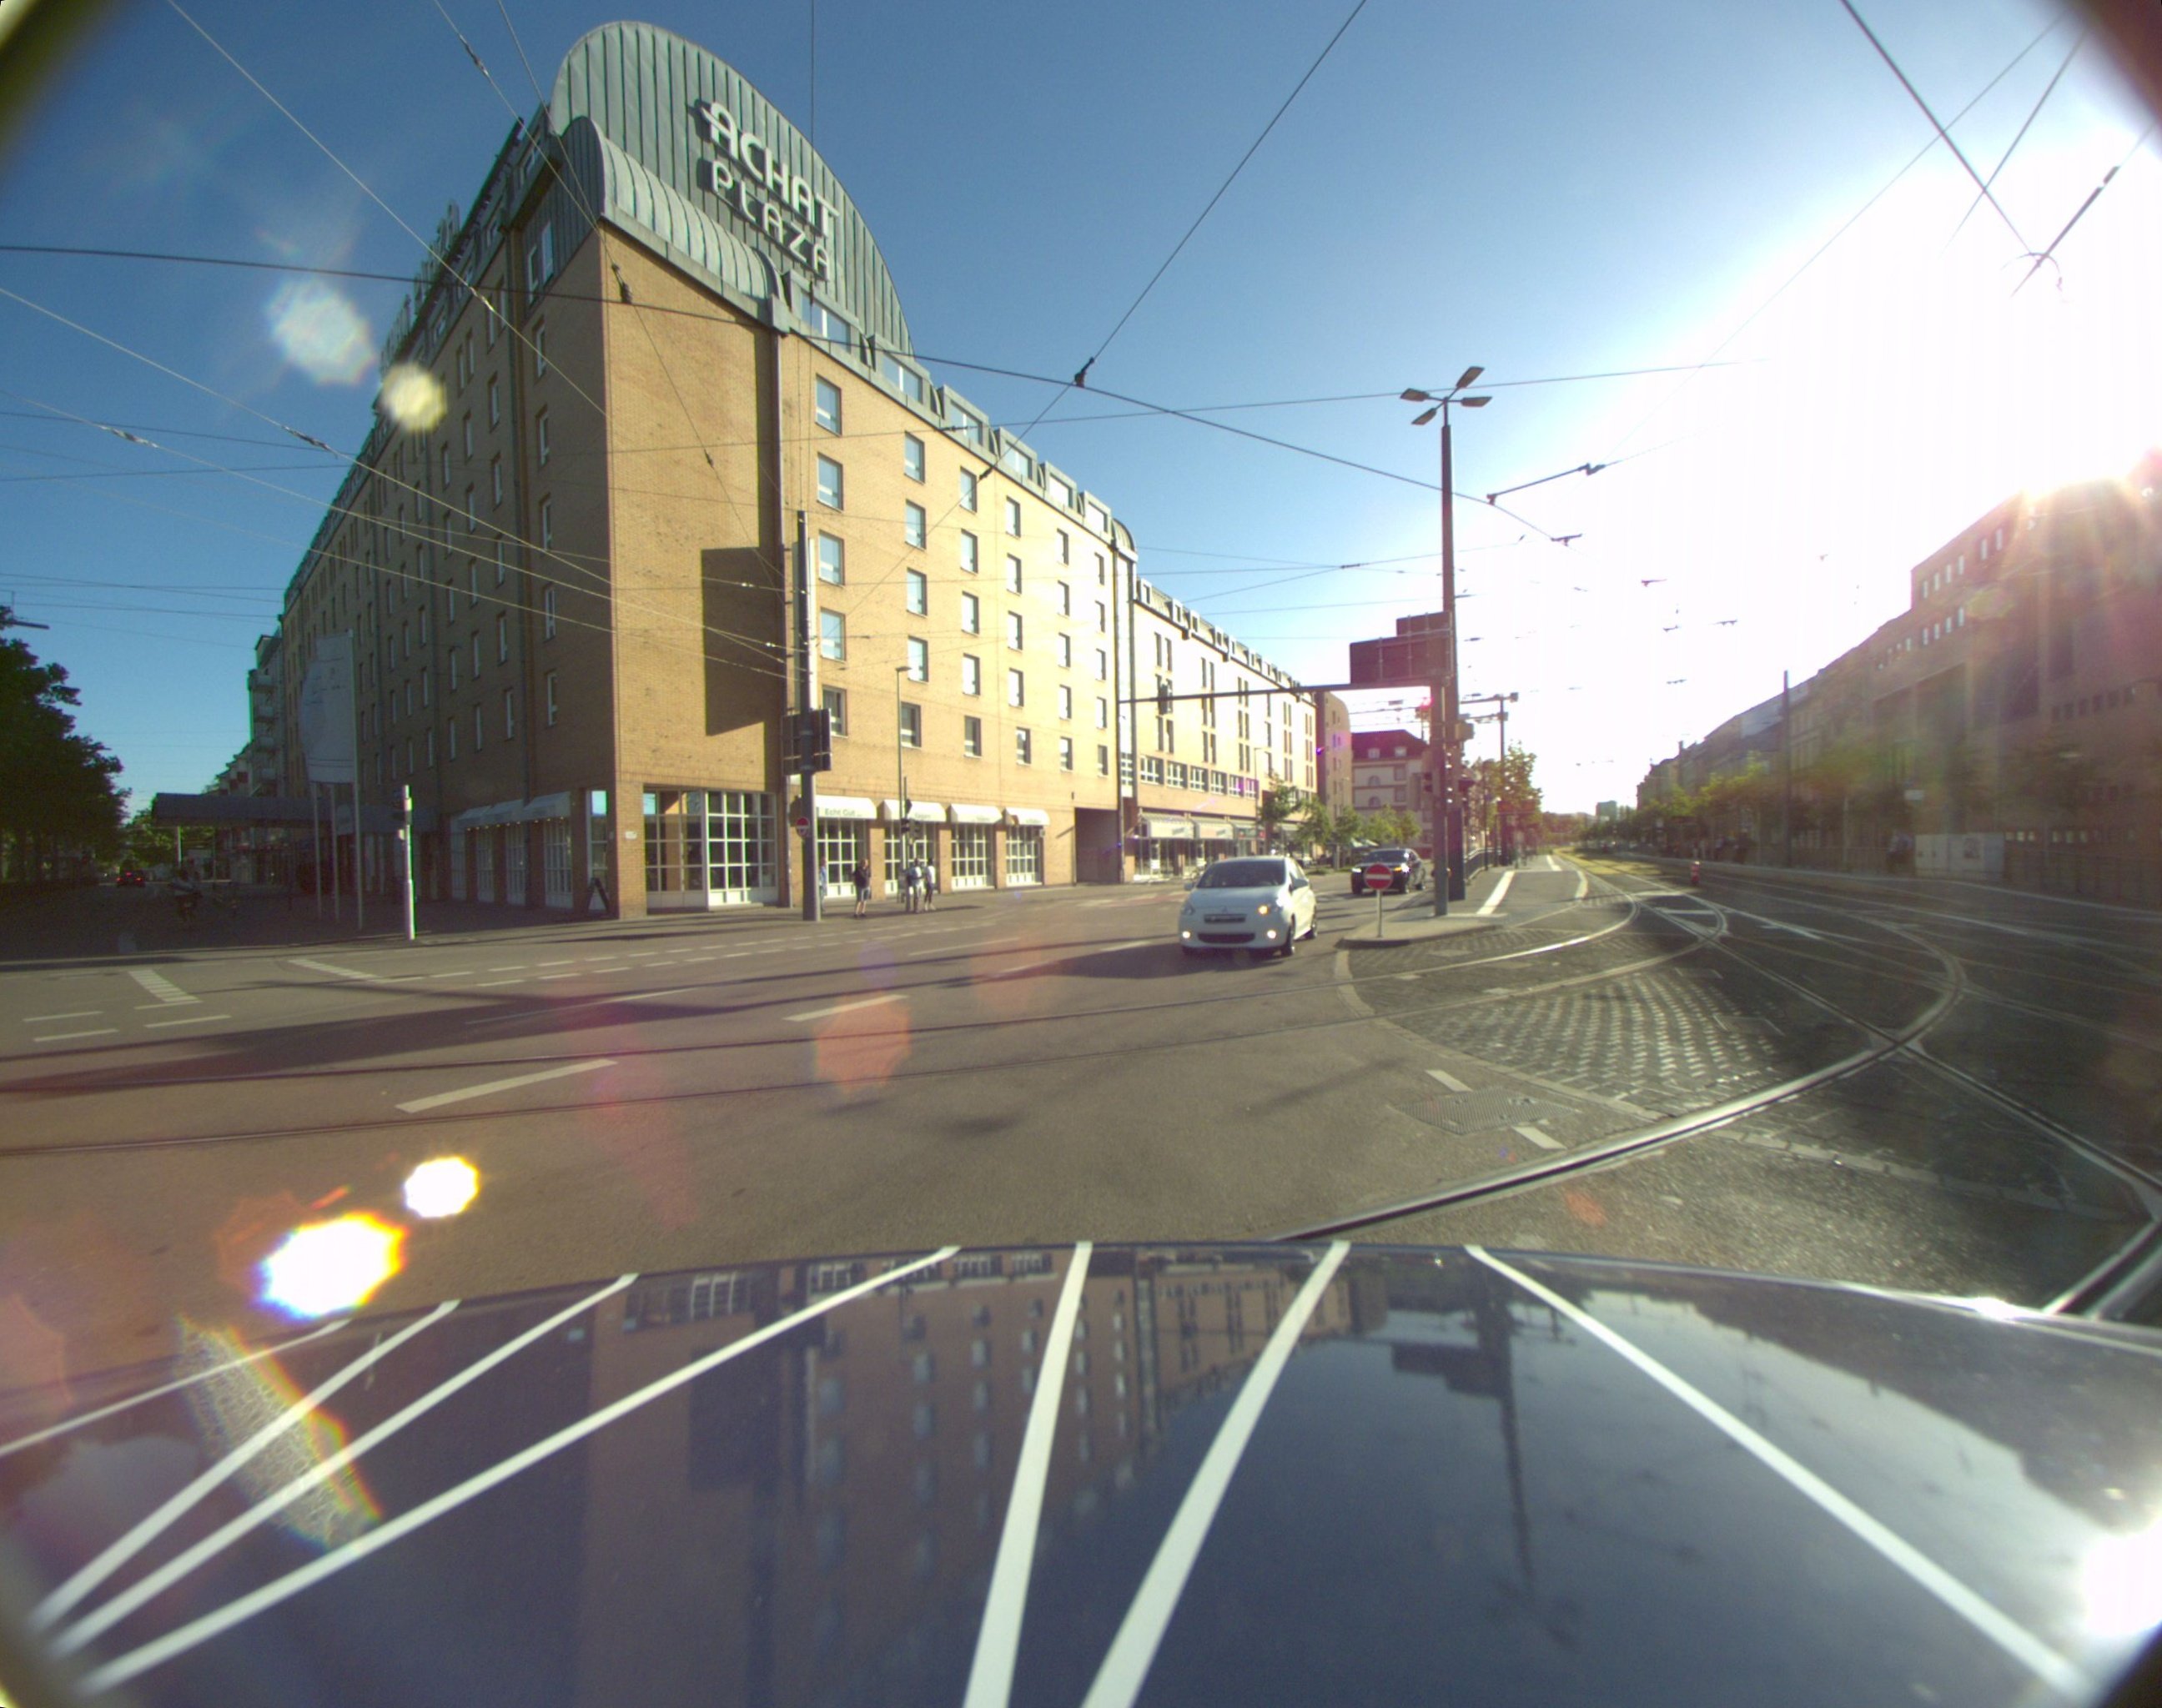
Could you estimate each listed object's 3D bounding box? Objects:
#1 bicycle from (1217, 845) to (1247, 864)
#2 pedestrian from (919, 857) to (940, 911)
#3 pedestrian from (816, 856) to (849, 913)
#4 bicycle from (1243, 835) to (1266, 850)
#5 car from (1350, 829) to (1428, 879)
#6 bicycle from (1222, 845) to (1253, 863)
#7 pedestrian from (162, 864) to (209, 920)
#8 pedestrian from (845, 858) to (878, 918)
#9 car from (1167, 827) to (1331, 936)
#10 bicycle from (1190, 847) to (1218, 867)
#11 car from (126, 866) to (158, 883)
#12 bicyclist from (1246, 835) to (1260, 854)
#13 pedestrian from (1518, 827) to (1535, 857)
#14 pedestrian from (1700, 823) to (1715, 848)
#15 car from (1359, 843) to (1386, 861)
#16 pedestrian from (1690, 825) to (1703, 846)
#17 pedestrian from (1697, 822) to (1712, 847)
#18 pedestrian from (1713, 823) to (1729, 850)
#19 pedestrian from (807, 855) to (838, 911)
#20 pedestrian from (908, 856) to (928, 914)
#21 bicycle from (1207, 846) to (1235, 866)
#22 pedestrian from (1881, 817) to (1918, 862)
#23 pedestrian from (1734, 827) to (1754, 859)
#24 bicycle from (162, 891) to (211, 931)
[{"bbox_3d":[9.500,-0.001,47.900,1.770,1.135,0.554,1,4,34],"label":"bicycle"},{"bbox_3d":[-5.100,1.002,25.599,0.580,1.765,0.404,-2,4,-31],"label":"pedestrian"},{"bbox_3d":[-7.717,0.947,23.617,0.561,1.694,0.660,-2,2,34],"label":"pedestrian"},{"bbox_3d":[13.414,-0.891,58.809,1.885,1.045,0.600,0,5,-35],"label":"bicycle"},{"bbox_3d":[11.700,-0.058,28.707,1.951,1.652,4.362,-2,2,32],"label":"car"},{"bbox_3d":[10.088,0.001,49.003,1.770,1.066,0.738,1,4,34],"label":"bicycle"},{"bbox_3d":[-26.643,1.105,22.626,0.836,1.585,0.773,-1,2,43],"label":"pedestrian"},{"bbox_3d":[-6.671,1.017,23.087,0.572,1.757,0.696,-1,1,41],"label":"pedestrian"},{"bbox_3d":[2.915,0.410,12.456,1.637,1.457,4.194,-2,-1,26],"label":"car"},{"bbox_3d":[7.454,0.184,45.951,0.554,1.142,1.770,-4,5,-37],"label":"bicycle"},{"bbox_3d":[-98.619,2.103,79.819,3.746,1.659,1.930,0,1,42],"label":"car"},{"bbox_3d":[13.341,-0.735,58.817,0.852,1.507,0.579,0,4,-36],"label":"bicyclist"},{"bbox_3d":[29.637,-0.817,50.579,0.878,2.002,0.786,-1,2,23],"label":"pedestrian"},{"bbox_3d":[43.645,-1.313,52.927,0.691,1.733,0.587,0,2,29],"label":"pedestrian"},{"bbox_3d":[27.751,-0.223,72.325,1.652,1.521,3.699,-2,2,32],"label":"car"},{"bbox_3d":[46.801,-1.382,57.755,0.691,1.566,0.587,0,2,29],"label":"pedestrian"},{"bbox_3d":[44.385,-1.373,54.077,0.691,1.733,0.587,0,2,29],"label":"pedestrian"},{"bbox_3d":[41.614,-1.142,49.424,0.691,1.733,0.587,0,2,29],"label":"pedestrian"},{"bbox_3d":[-8.175,0.917,24.022,0.602,1.717,0.603,-2,2,34],"label":"pedestrian"},{"bbox_3d":[-5.298,0.995,24.697,0.498,1.823,0.732,0,3,-3],"label":"pedestrian"},{"bbox_3d":[8.640,0.107,46.833,0.554,1.142,1.770,-4,5,-37],"label":"bicycle"},{"bbox_3d":[28.381,-0.493,26.364,0.700,1.526,0.655,0,2,29],"label":"pedestrian"},{"bbox_3d":[36.171,-0.623,41.447,0.691,1.733,0.587,0,2,29],"label":"pedestrian"},{"bbox_3d":[-26.527,1.666,22.557,1.917,1.046,0.793,-2,2,43],"label":"bicycle"}]
